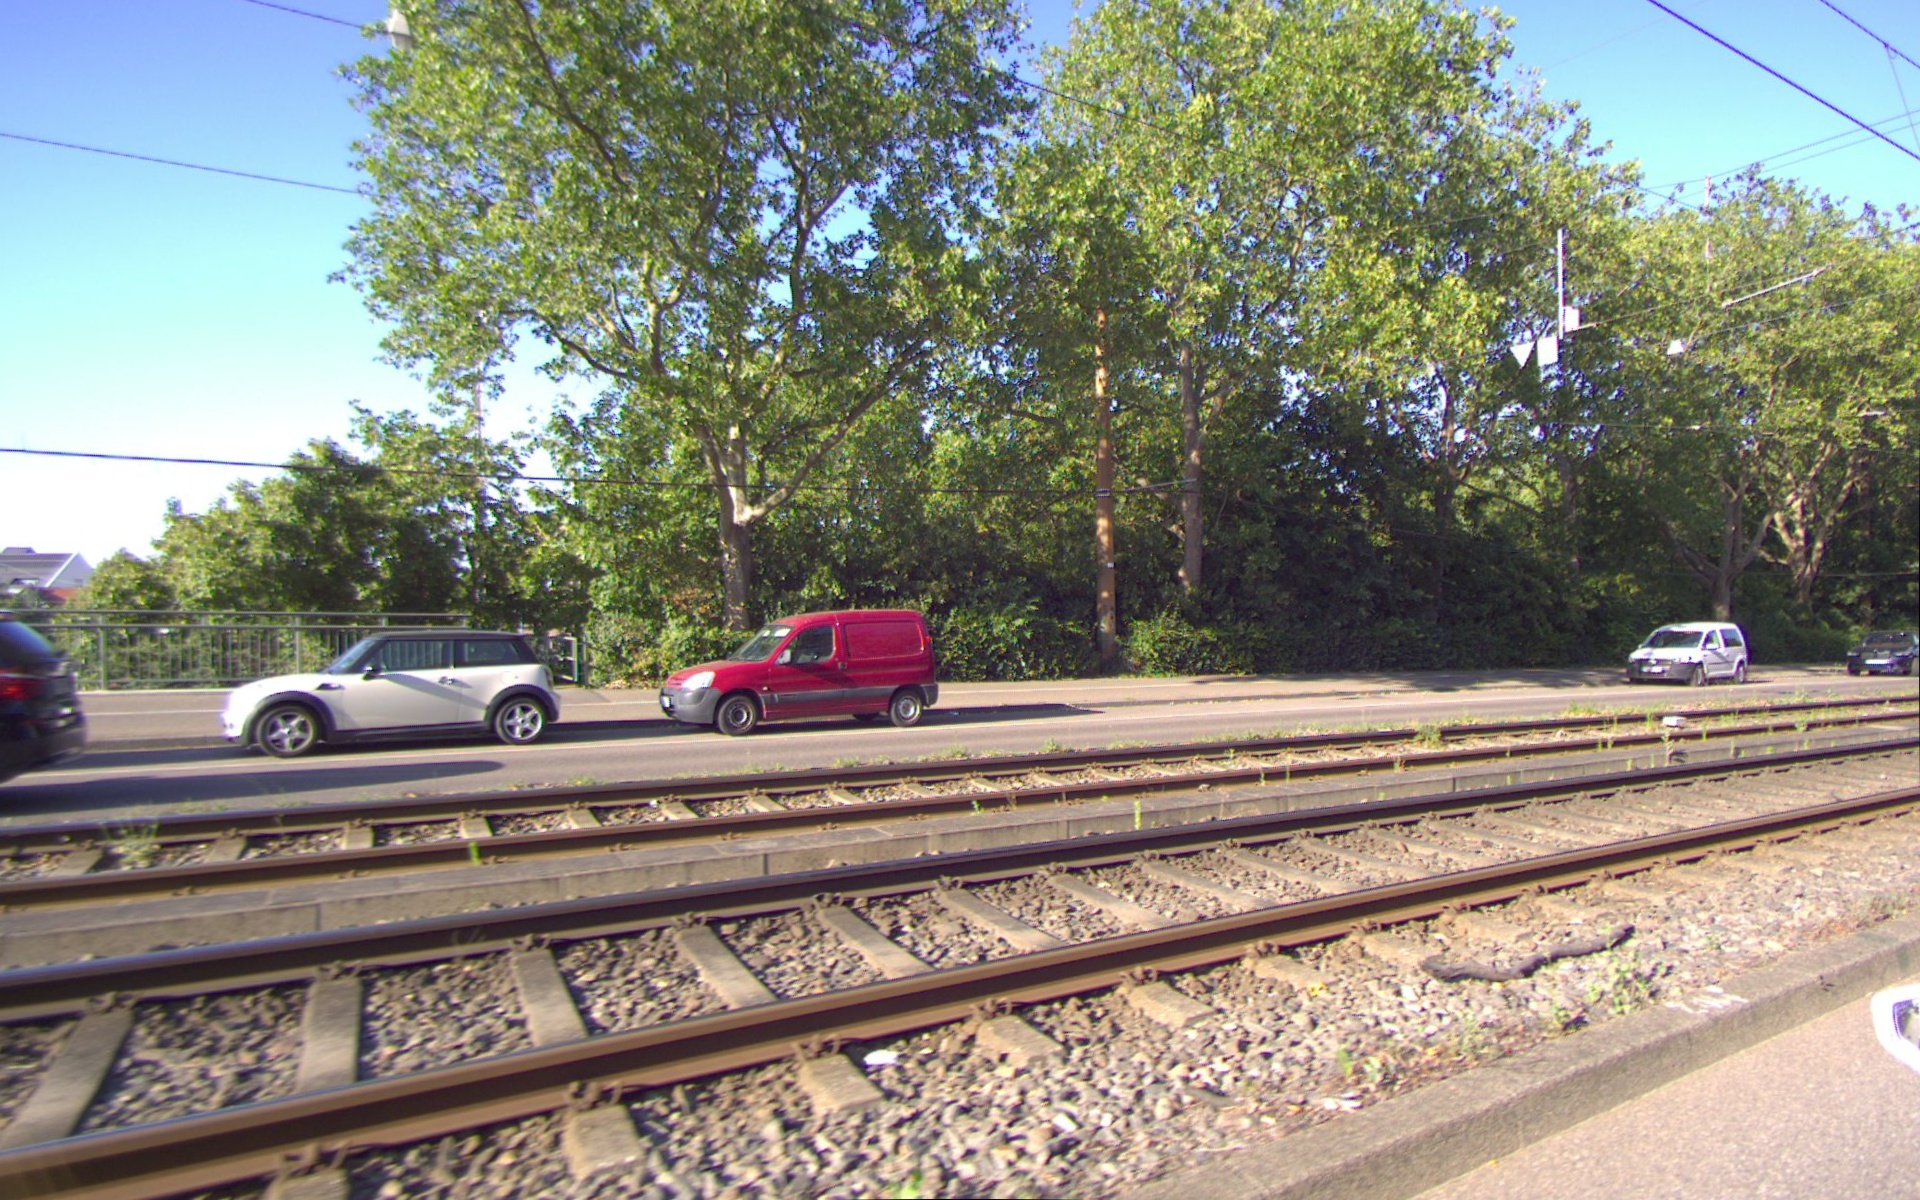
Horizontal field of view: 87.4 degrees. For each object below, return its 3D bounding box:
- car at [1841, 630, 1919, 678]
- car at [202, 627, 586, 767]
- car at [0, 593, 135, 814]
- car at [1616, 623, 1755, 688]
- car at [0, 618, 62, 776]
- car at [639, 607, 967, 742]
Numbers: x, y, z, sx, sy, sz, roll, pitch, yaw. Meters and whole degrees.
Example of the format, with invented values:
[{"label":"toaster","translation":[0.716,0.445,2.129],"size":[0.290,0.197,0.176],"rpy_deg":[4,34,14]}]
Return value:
[{"label":"car","translation":[34.416,1.948,37.223],"size":[3.960,1.658,1.731],"rpy_deg":[1,-2,-35]},{"label":"car","translation":[-6.909,1.093,12.565],"size":[3.958,1.470,1.624],"rpy_deg":[1,-1,-33]},{"label":"car","translation":[-9.037,0.777,7.367],"size":[4.342,1.645,1.734],"rpy_deg":[1,-2,-30]},{"label":"car","translation":[21.450,1.619,29.655],"size":[4.465,1.766,1.732],"rpy_deg":[1,-4,-33]},{"label":"car","translation":[-11.421,0.955,9.746],"size":[3.746,1.551,1.626],"rpy_deg":[1,-1,-30]},{"label":"car","translation":[-2.302,1.013,15.218],"size":[4.630,1.777,1.733],"rpy_deg":[1,-1,-31]}]
